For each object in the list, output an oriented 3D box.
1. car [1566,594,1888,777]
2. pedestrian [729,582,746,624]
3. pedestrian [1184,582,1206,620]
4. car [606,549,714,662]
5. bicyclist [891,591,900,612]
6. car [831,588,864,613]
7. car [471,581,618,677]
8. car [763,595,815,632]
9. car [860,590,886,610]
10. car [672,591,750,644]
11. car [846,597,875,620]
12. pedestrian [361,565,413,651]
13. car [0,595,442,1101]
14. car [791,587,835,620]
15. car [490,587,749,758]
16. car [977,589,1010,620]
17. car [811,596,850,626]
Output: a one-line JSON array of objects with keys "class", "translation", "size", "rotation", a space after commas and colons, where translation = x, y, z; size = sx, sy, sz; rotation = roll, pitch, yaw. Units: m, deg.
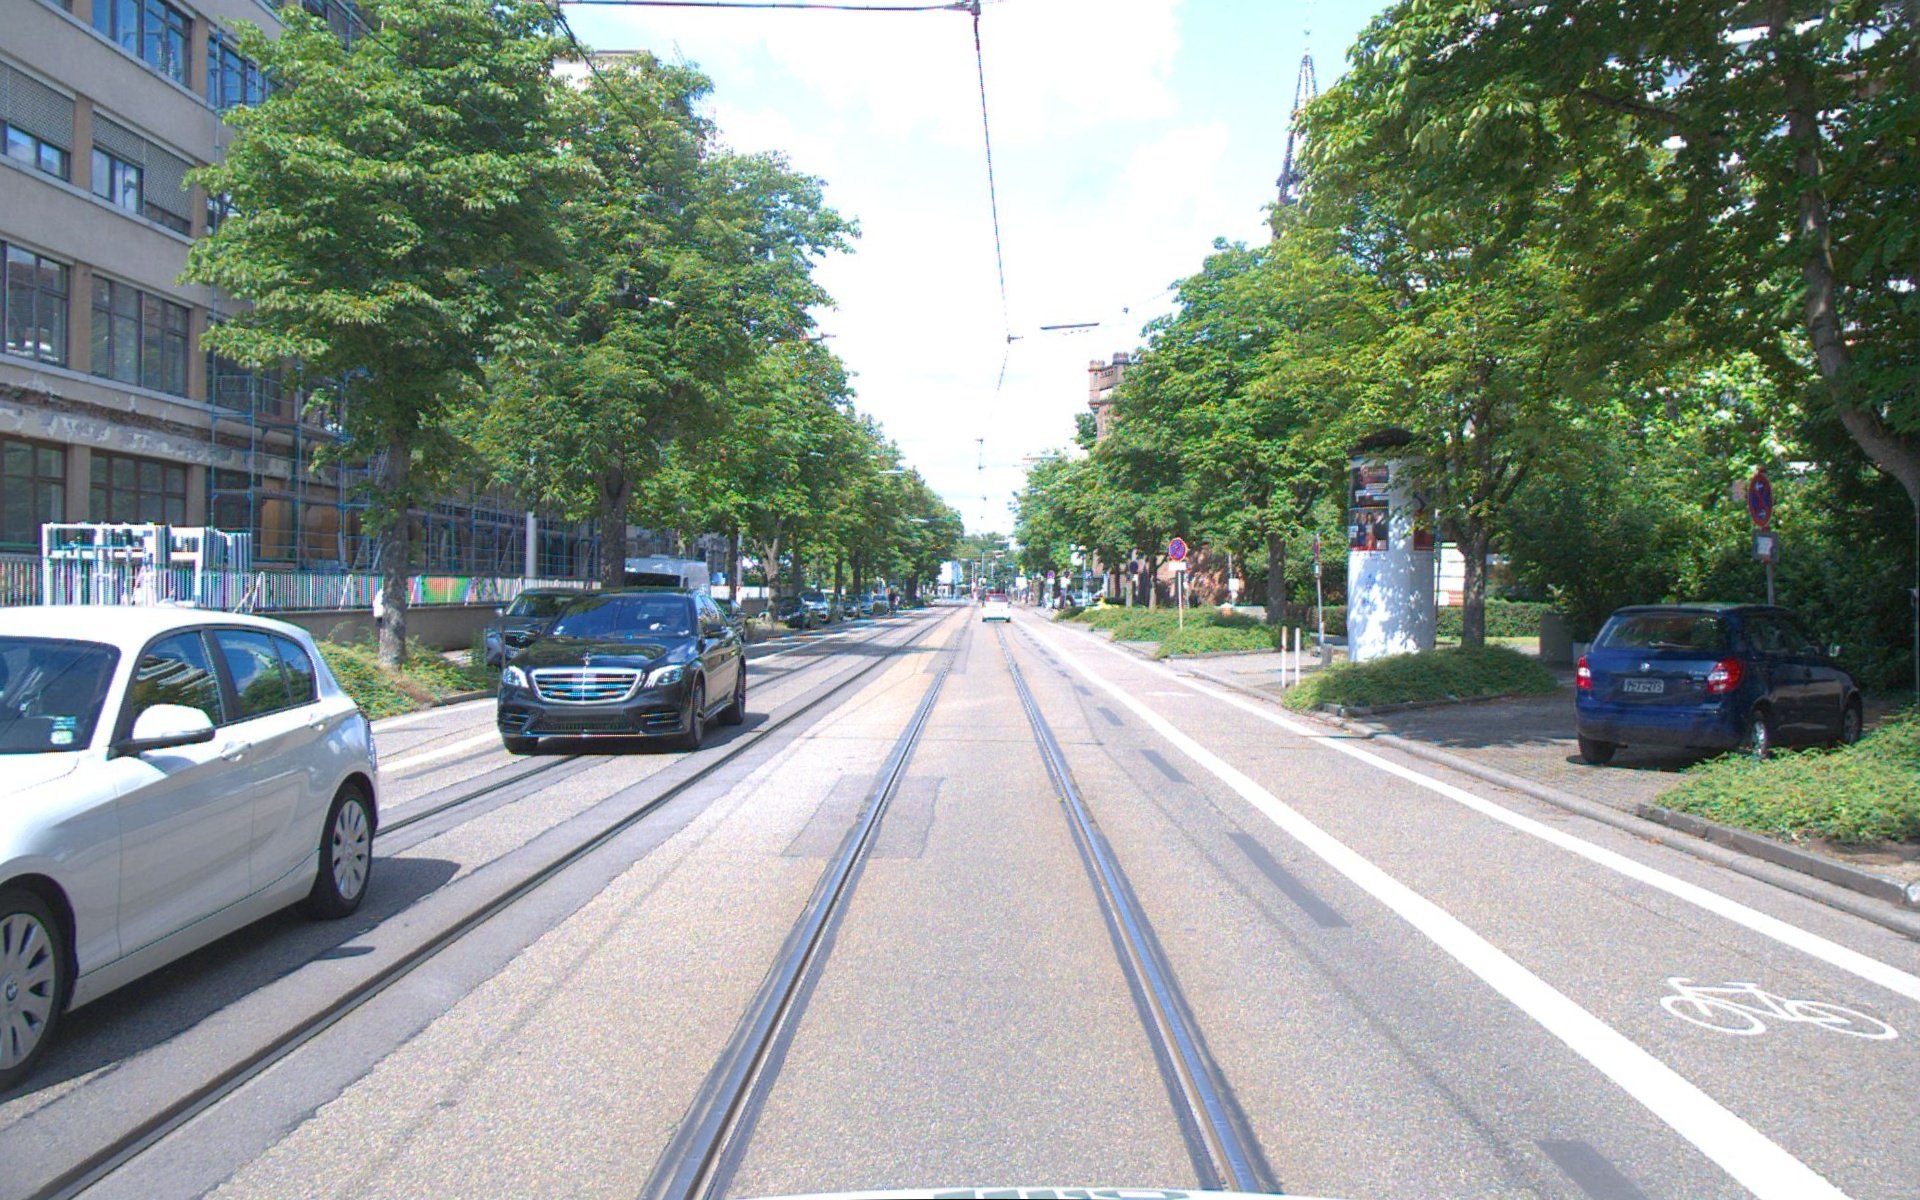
[{"class": "car", "translation": [7.485, 0.720, 15.960], "size": [1.589, 1.512, 3.972], "rotation": [0, 0, 44]}, {"class": "pedestrian", "translation": [-10.874, 0.132, 80.877], "size": [0.788, 2.049, 0.484], "rotation": [1, 0, -9]}, {"class": "pedestrian", "translation": [12.740, 0.049, 89.708], "size": [0.957, 2.049, 1.093], "rotation": [2, 0, -1]}, {"class": "car", "translation": [-7.732, 0.137, 43.155], "size": [1.733, 2.685, 5.322], "rotation": [2, 0, 0]}, {"class": "bicyclist", "translation": [-4.919, 0.133, 126.497], "size": [0.645, 1.607, 0.946], "rotation": [2, 0, -1]}, {"class": "car", "translation": [-7.186, 0.036, 105.734], "size": [1.767, 1.543, 4.103], "rotation": [1, 0, 1]}, {"class": "car", "translation": [-8.068, 0.533, 32.483], "size": [1.767, 1.691, 4.103], "rotation": [2, 0, 1]}, {"class": "car", "translation": [-7.525, 0.565, 73.006], "size": [1.767, 1.543, 4.103], "rotation": [2, 0, 1]}, {"class": "car", "translation": [-6.760, -0.032, 129.055], "size": [1.767, 1.543, 4.103], "rotation": [1, 0, 1]}, {"class": "car", "translation": [-7.873, 0.539, 52.567], "size": [1.767, 1.543, 4.103], "rotation": [2, 0, 1]}, {"class": "car", "translation": [-7.084, 0.613, 118.157], "size": [1.767, 1.543, 4.103], "rotation": [2, 0, 1]}, {"class": "pedestrian", "translation": [-11.273, 0.149, 32.566], "size": [0.749, 1.648, 0.594], "rotation": [2, 0, 0]}, {"class": "car", "translation": [-3.491, 0.718, 6.167], "size": [1.651, 1.430, 4.227], "rotation": [-1, 0, 2]}, {"class": "car", "translation": [-7.403, 0.169, 83.560], "size": [1.767, 1.543, 4.103], "rotation": [2, 0, 1]}, {"class": "car", "translation": [-3.352, 0.656, 17.165], "size": [1.763, 1.534, 4.536], "rotation": [0, 0, 0]}, {"class": "car", "translation": [1.860, 0.228, 91.804], "size": [1.632, 1.653, 3.619], "rotation": [0, 1, -2]}, {"class": "car", "translation": [-7.148, 0.591, 91.561], "size": [1.767, 1.543, 4.103], "rotation": [2, 0, 1]}]
